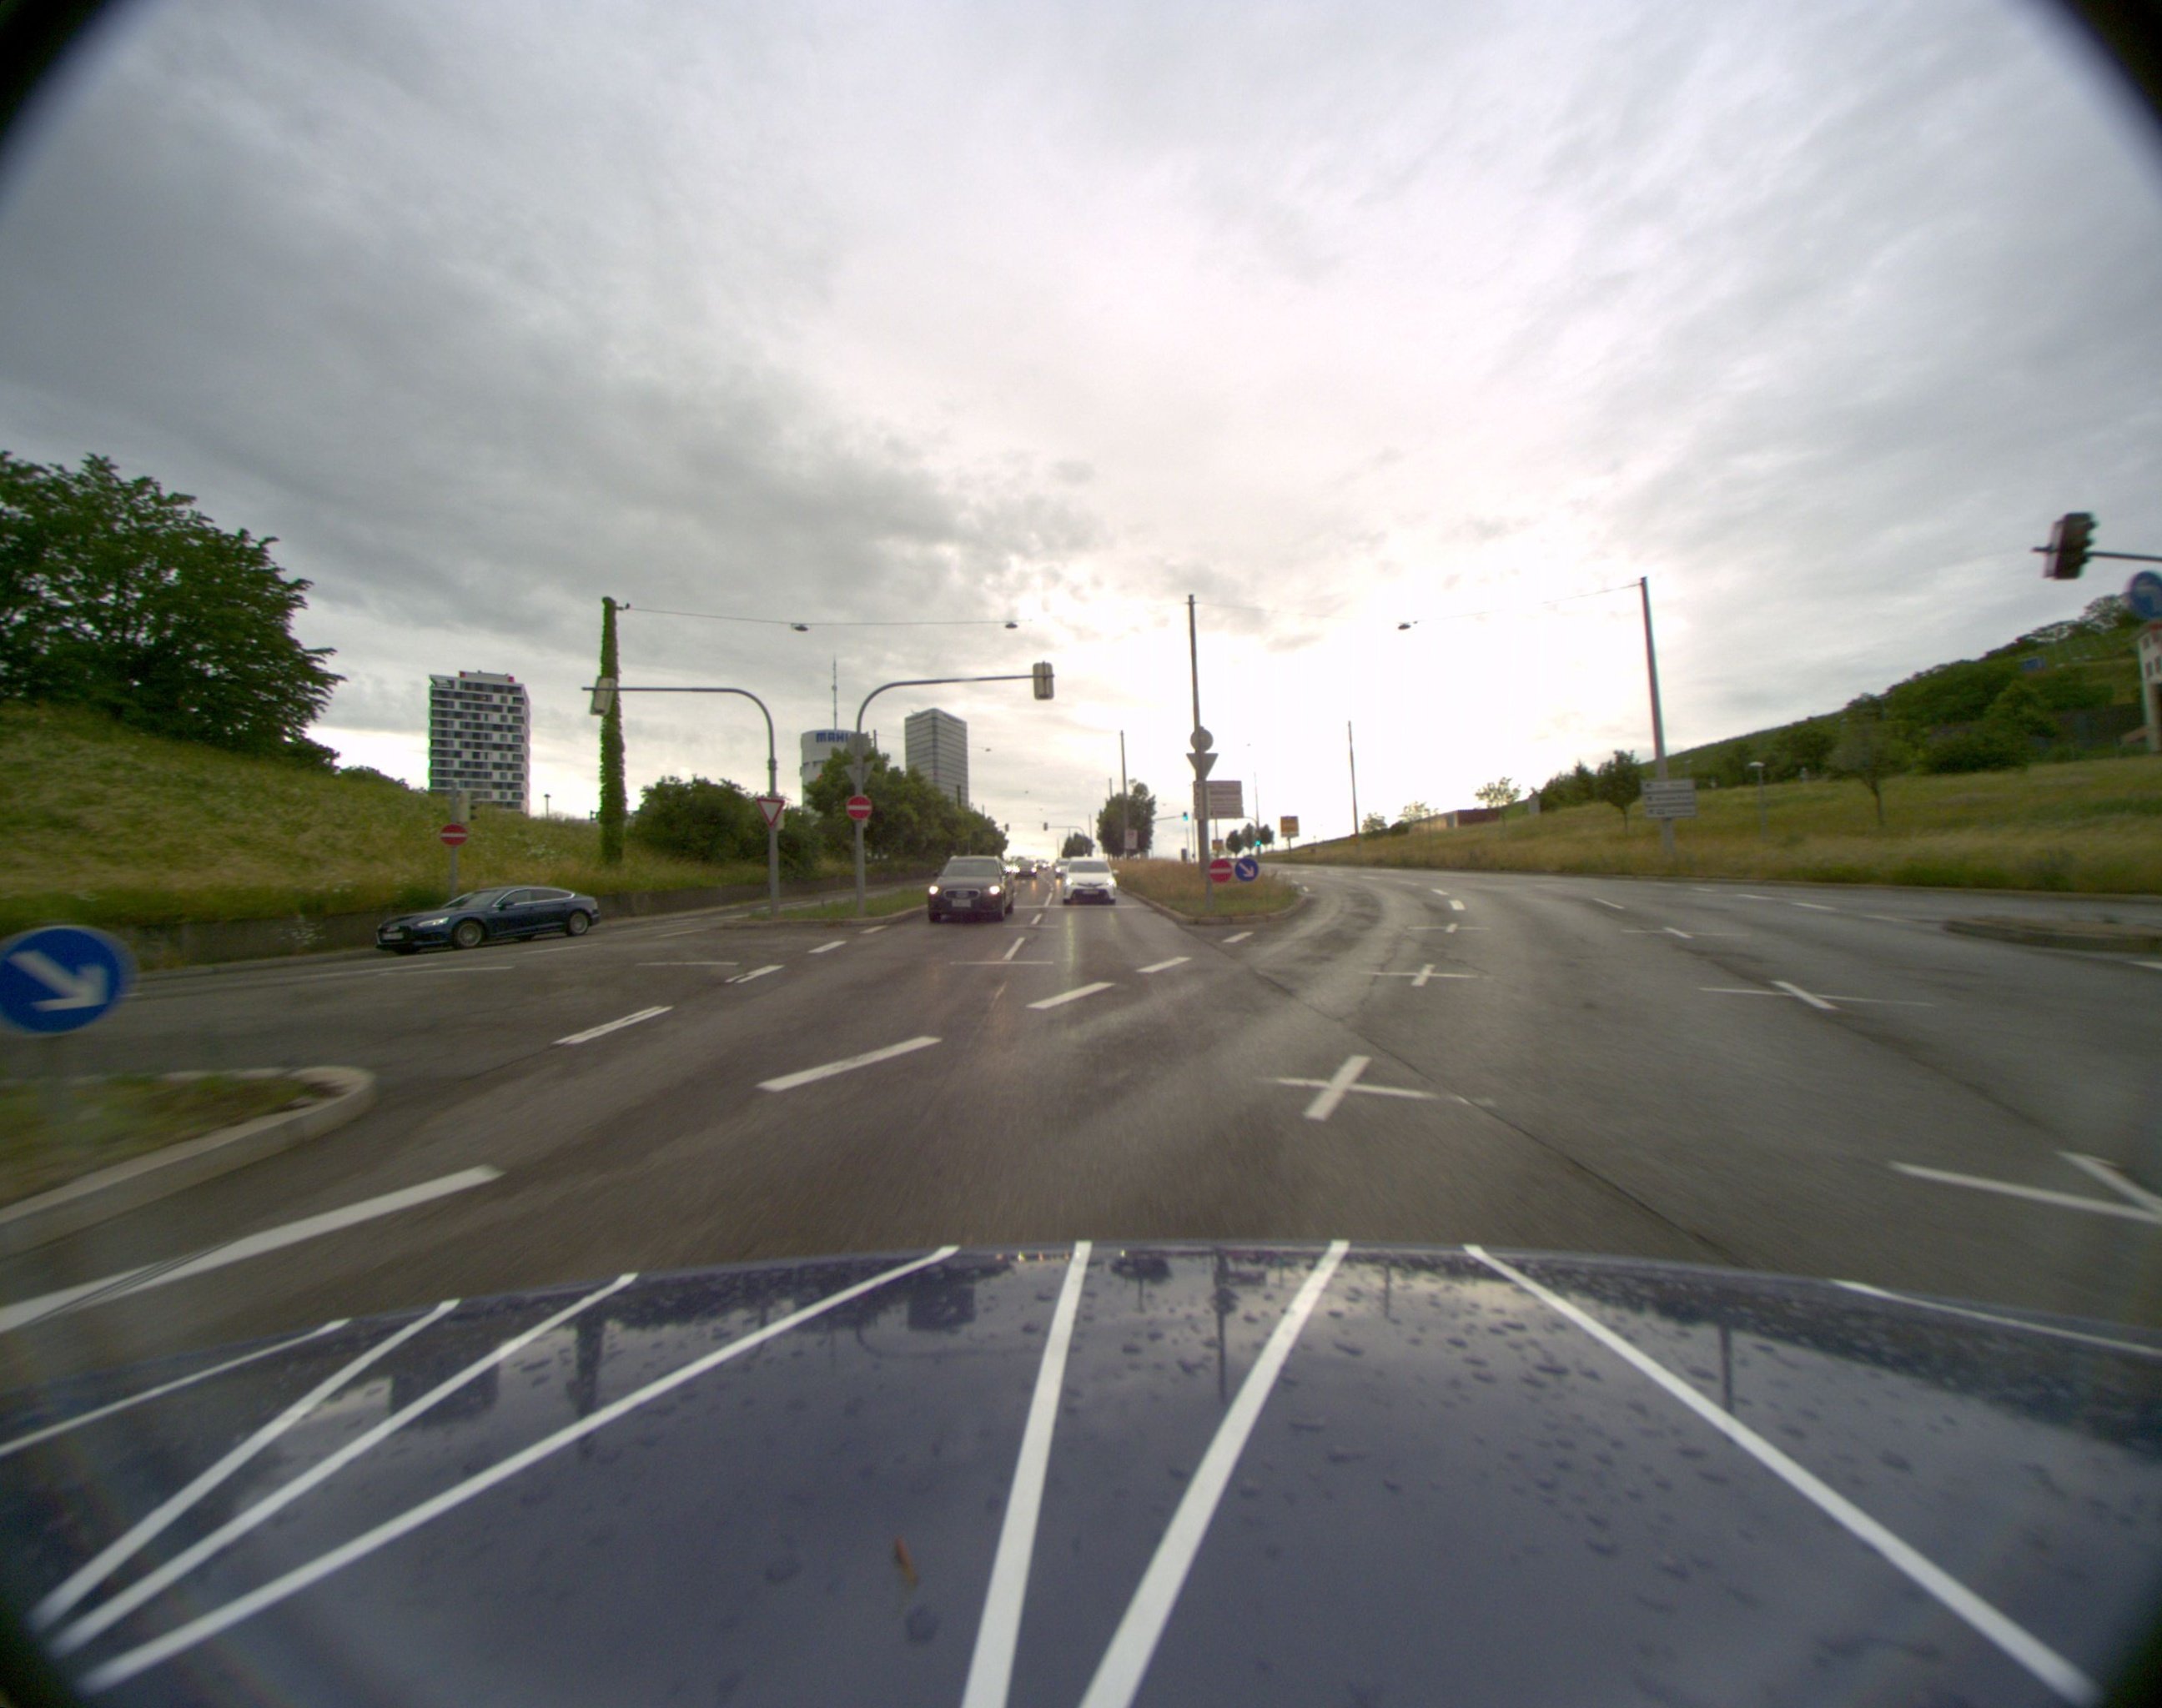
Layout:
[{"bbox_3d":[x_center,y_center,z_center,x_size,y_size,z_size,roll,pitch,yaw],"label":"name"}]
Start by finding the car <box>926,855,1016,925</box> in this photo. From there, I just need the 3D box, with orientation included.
[{"bbox_3d":[-2.709,0.834,19.571,1.730,1.525,4.125,-2,1,-1],"label":"car"}]

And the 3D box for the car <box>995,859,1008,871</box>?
[{"bbox_3d":[-11.220,1.576,107.324,1.636,1.466,3.676,-2,-3,-8],"label":"car"}]

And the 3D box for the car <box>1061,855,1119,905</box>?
[{"bbox_3d":[0.348,0.847,26.665,1.827,1.574,4.298,1,0,2],"label":"car"}]

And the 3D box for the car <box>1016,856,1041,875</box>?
[{"bbox_3d":[-4.109,0.941,60.365,1.730,1.463,4.264,-1,-1,-1],"label":"car"}]

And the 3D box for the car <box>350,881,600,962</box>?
[{"bbox_3d":[-13.890,1.486,17.826,1.874,1.417,4.351,-2,1,11],"label":"car"}]
